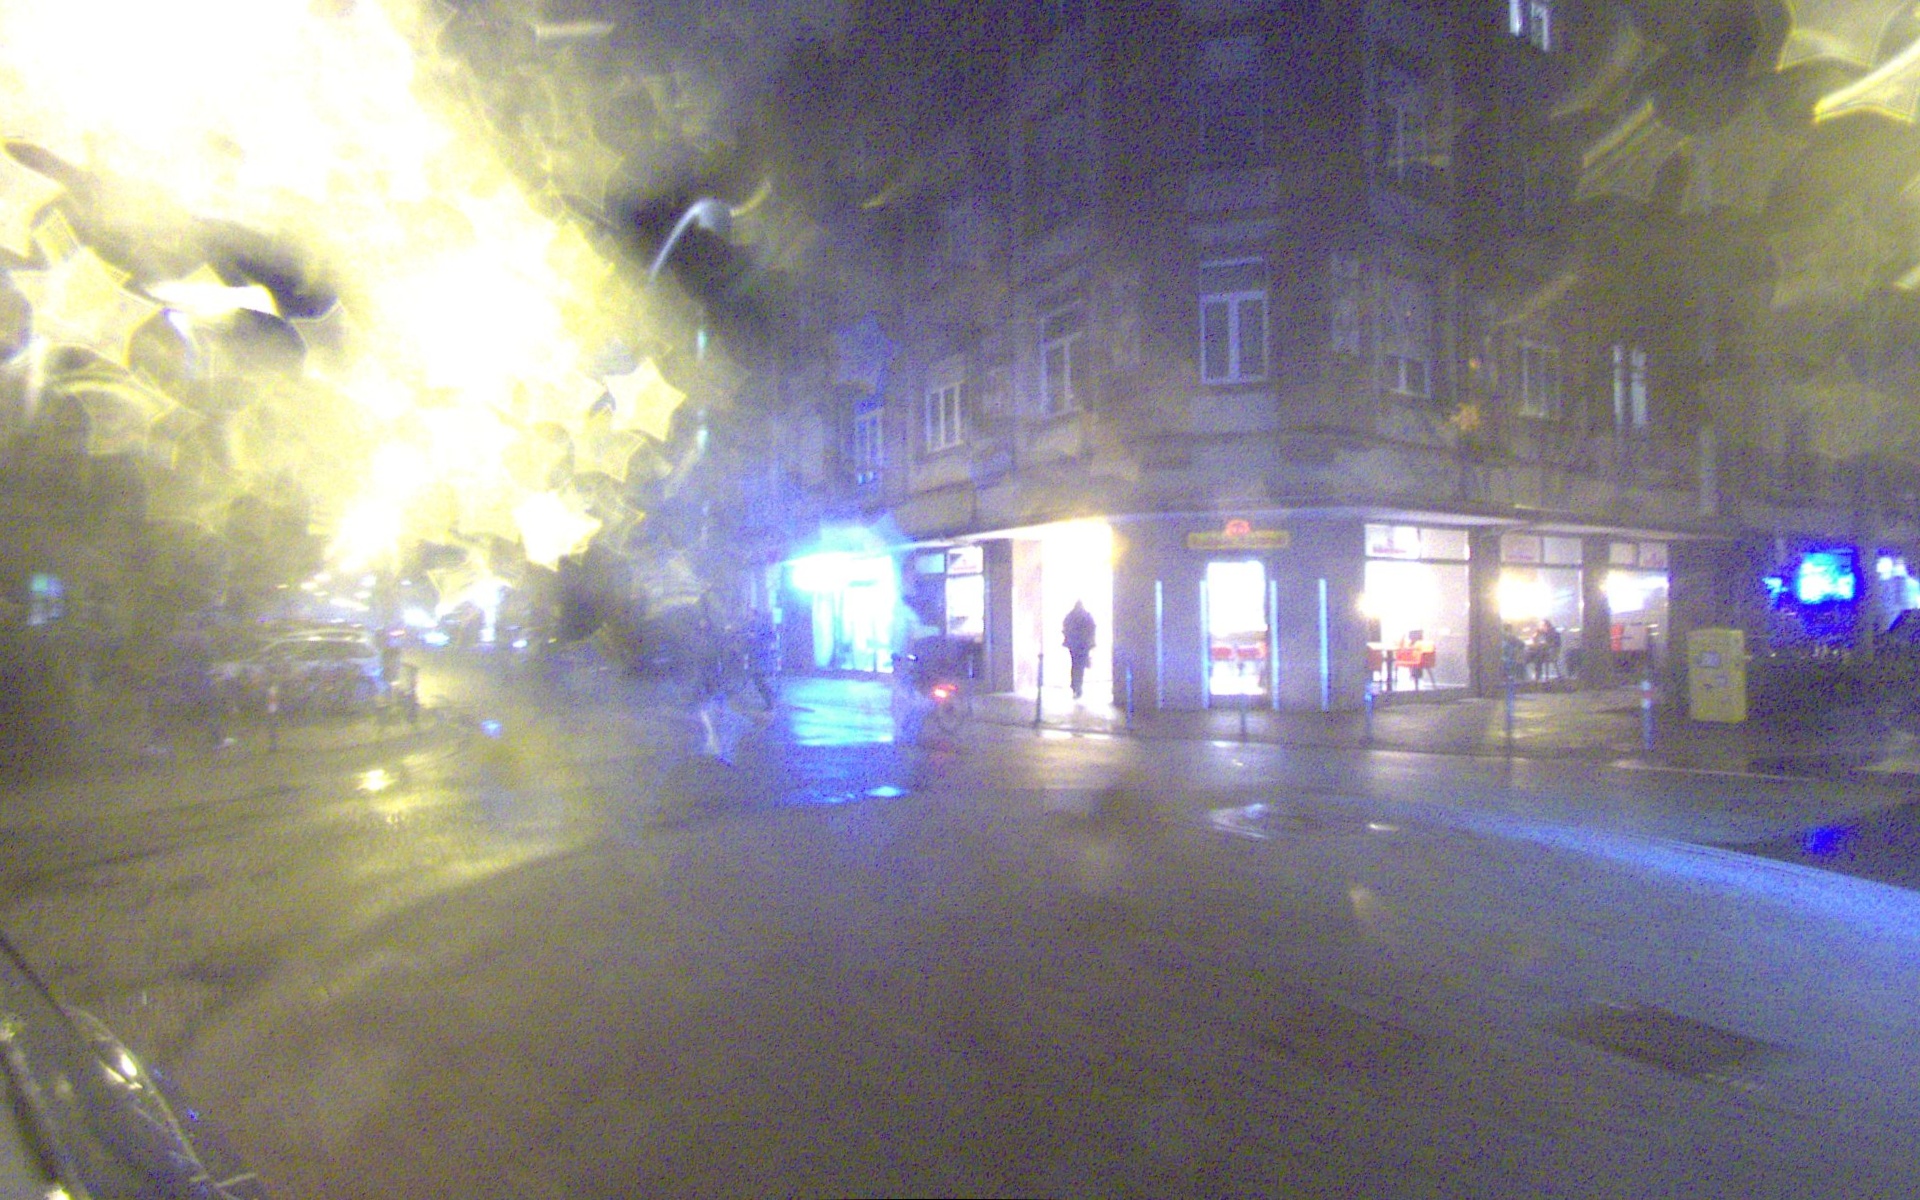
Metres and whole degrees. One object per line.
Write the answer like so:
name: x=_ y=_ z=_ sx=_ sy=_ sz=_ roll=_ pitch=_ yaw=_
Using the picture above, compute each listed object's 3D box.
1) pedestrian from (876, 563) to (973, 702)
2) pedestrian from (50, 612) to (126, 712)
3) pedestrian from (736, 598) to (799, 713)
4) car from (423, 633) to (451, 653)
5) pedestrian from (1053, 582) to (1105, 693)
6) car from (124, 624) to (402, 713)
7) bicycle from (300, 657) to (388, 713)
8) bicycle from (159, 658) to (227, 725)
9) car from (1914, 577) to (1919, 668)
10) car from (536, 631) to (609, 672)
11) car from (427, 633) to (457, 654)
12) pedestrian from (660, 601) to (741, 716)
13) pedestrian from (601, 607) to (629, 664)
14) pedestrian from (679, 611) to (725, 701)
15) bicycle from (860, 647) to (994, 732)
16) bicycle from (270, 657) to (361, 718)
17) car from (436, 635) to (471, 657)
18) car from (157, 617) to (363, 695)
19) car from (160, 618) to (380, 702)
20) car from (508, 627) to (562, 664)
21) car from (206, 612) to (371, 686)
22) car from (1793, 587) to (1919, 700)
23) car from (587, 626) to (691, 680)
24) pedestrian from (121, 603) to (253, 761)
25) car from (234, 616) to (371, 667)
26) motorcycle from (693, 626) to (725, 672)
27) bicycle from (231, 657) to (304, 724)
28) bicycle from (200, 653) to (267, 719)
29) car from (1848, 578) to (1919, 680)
pedestrian: x=-0.495 y=0.453 z=13.914 sx=1.124 sy=1.825 sz=0.705 roll=-3 pitch=-3 yaw=39
pedestrian: x=-16.517 y=1.155 z=19.191 sx=0.779 sy=1.831 sz=0.812 roll=0 pitch=-1 yaw=-7
pedestrian: x=-3.240 y=0.910 z=16.983 sx=0.665 sy=1.846 sz=1.081 roll=-2 pitch=-1 yaw=-30
car: x=-44.988 y=3.718 z=87.006 sx=1.822 sy=1.592 sz=3.745 roll=-2 pitch=-1 yaw=-32
pedestrian: x=2.107 y=0.660 z=17.904 sx=0.653 sy=1.923 sz=0.620 roll=-3 pitch=-3 yaw=38
car: x=-13.761 y=1.321 z=20.259 sx=1.764 sy=1.586 sz=4.220 roll=-1 pitch=-3 yaw=29
bicycle: x=-11.589 y=1.600 z=19.042 sx=1.629 sy=1.034 sz=0.335 roll=-1 pitch=-3 yaw=12
bicycle: x=-12.810 y=1.511 z=16.891 sx=1.641 sy=1.034 sz=0.332 roll=-1 pitch=-2 yaw=32
car: x=23.287 y=0.435 z=21.443 sx=1.966 sy=2.029 sz=4.012 roll=-2 pitch=0 yaw=-28
car: x=-15.421 y=2.017 z=40.148 sx=1.693 sy=1.489 sz=4.170 roll=-1 pitch=-1 yaw=-35
car: x=-42.262 y=3.523 z=82.516 sx=1.822 sy=1.592 sz=3.745 roll=-2 pitch=-1 yaw=-32
pedestrian: x=-4.504 y=0.983 z=17.498 sx=0.942 sy=1.877 sz=1.419 roll=0 pitch=-2 yaw=-33
pedestrian: x=-13.820 y=1.409 z=40.554 sx=0.788 sy=2.258 sz=1.119 roll=0 pitch=-2 yaw=-33
pedestrian: x=-5.332 y=1.138 z=20.878 sx=0.814 sy=1.784 sz=0.602 roll=-2 pitch=-1 yaw=-20
bicycle: x=-0.469 y=1.200 z=13.879 sx=1.799 sy=1.067 sz=0.705 roll=-3 pitch=-3 yaw=39
bicycle: x=-11.783 y=1.589 z=18.511 sx=1.630 sy=1.034 sz=0.334 roll=1 pitch=-2 yaw=14
car: x=-36.283 y=3.271 z=72.503 sx=1.822 sy=1.489 sz=3.745 roll=-2 pitch=-1 yaw=-32
car: x=-16.864 y=1.335 z=24.594 sx=1.737 sy=1.725 sz=3.764 roll=-1 pitch=-3 yaw=23
car: x=-15.304 y=1.315 z=22.668 sx=1.760 sy=1.725 sz=3.711 roll=-1 pitch=-3 yaw=23
car: x=-18.681 y=1.965 z=44.403 sx=1.692 sy=1.489 sz=3.797 roll=-2 pitch=-1 yaw=-30
car: x=-19.673 y=1.441 z=29.834 sx=1.710 sy=2.044 sz=3.711 roll=-1 pitch=-3 yaw=22
car: x=18.628 y=0.787 z=19.084 sx=1.966 sy=2.029 sz=4.012 roll=-2 pitch=0 yaw=-28
car: x=-9.989 y=1.588 z=31.220 sx=1.821 sy=1.489 sz=5.045 roll=-1 pitch=-1 yaw=-32
pedestrian: x=-9.454 y=0.976 z=12.416 sx=0.867 sy=1.847 sz=0.982 roll=-1 pitch=-1 yaw=4
car: x=-28.733 y=1.760 z=44.360 sx=1.970 sy=1.995 sz=4.666 roll=-1 pitch=0 yaw=28
motorcycle: x=-8.318 y=1.610 z=33.465 sx=0.529 sy=1.482 sz=1.462 roll=-2 pitch=-1 yaw=-33
bicycle: x=-12.218 y=1.580 z=17.837 sx=1.639 sy=1.034 sz=0.333 roll=2 pitch=1 yaw=28
bicycle: x=-12.550 y=1.474 z=17.465 sx=1.641 sy=1.101 sz=0.332 roll=-3 pitch=-3 yaw=32
car: x=20.673 y=0.549 z=20.138 sx=1.966 sy=2.029 sz=4.012 roll=-2 pitch=0 yaw=-28
